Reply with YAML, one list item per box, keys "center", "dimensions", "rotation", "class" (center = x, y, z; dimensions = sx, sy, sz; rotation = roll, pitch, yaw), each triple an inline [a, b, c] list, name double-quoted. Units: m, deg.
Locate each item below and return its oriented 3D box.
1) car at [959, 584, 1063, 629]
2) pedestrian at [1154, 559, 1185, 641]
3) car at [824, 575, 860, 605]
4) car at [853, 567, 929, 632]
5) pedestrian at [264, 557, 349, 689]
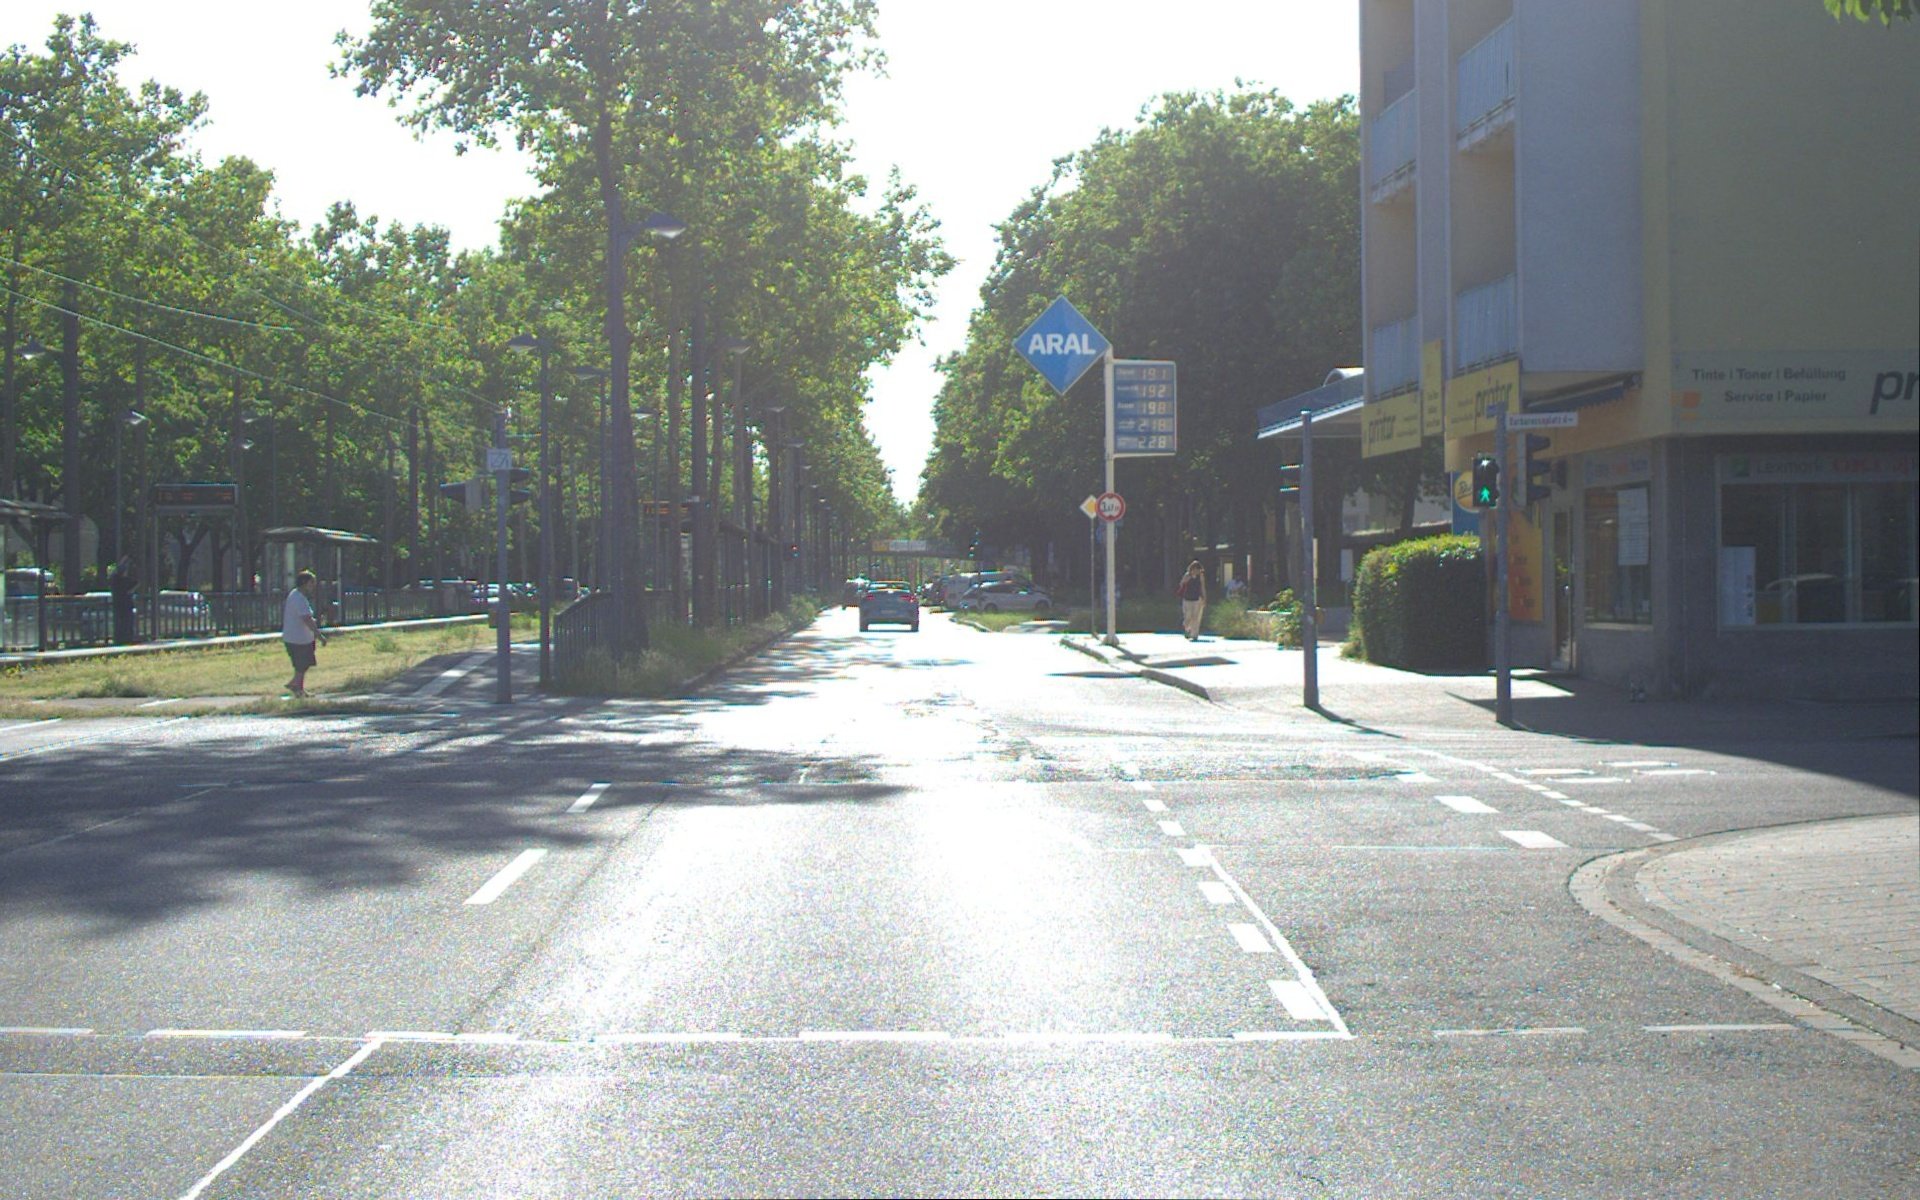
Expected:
- center: [2.160, 0.292, 145.091]
  dimensions: [3.986, 1.744, 1.755]
  rotation: [2, 0, -29]
  class: "car"
- center: [4.542, -0.008, 74.445]
  dimensions: [0.574, 1.741, 0.506]
  rotation: [2, 0, -2]
  class: "pedestrian"
- center: [-6.468, -0.557, 188.679]
  dimensions: [1.894, 1.605, 4.500]
  rotation: [2, 0, -2]
  class: "car"
- center: [-2.051, -0.011, 103.532]
  dimensions: [2.005, 1.853, 4.000]
  rotation: [2, 0, 2]
  class: "car"
- center: [-8.123, 0.286, 42.729]
  dimensions: [0.891, 1.601, 0.613]
  rotation: [2, 0, -1]
  class: "pedestrian"
